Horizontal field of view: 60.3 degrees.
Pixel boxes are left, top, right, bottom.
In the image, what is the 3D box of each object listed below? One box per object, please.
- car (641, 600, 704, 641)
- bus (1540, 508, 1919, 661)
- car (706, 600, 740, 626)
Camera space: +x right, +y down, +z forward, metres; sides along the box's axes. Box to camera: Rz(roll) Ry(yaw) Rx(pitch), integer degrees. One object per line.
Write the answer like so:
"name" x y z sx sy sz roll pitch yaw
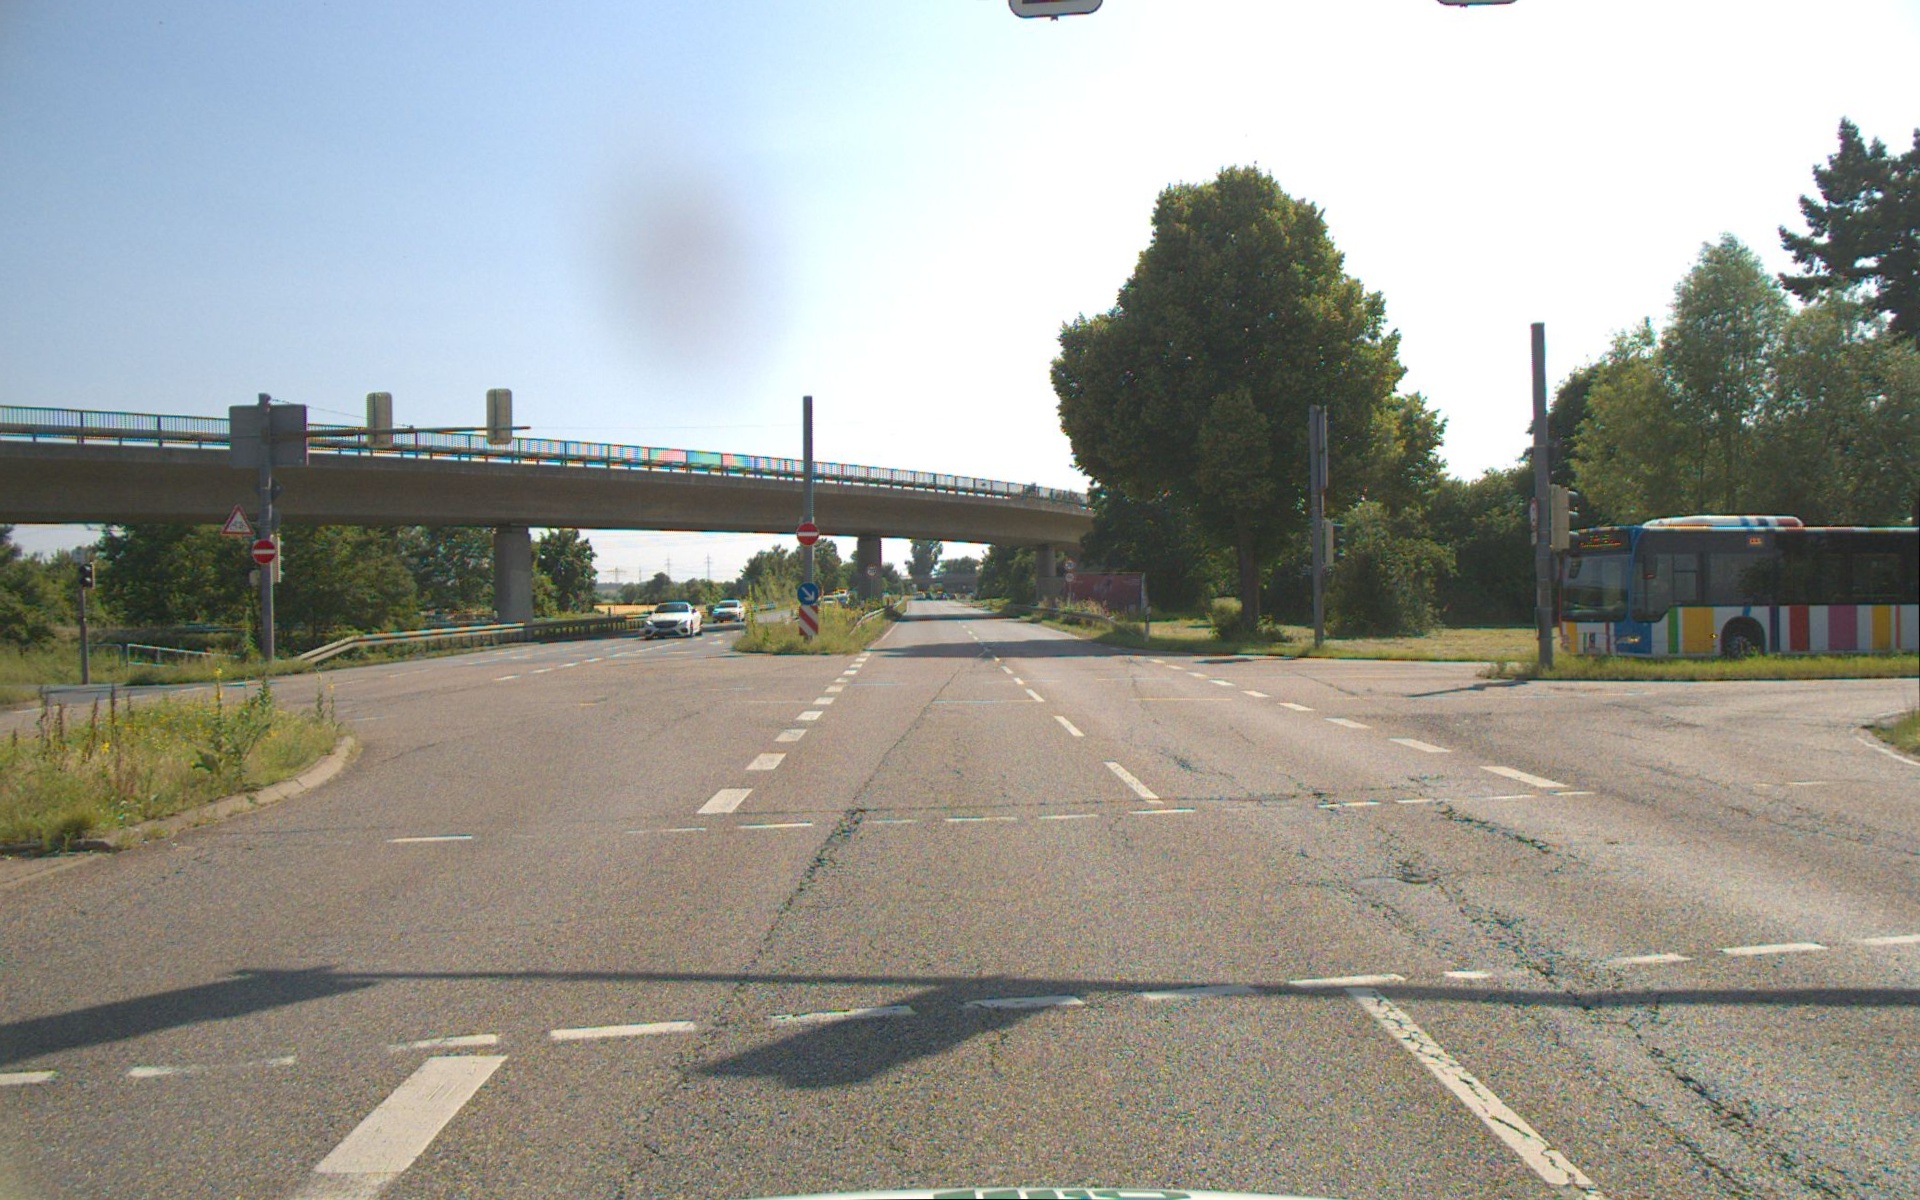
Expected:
"car" -11.564 0.795 66.723 1.819 1.473 4.239 -3 0 -2
"bus" 18.453 -0.421 35.594 11.745 2.927 2.929 -2 0 -16
"car" -15.668 0.832 109.702 1.754 1.656 3.998 -2 0 -2
